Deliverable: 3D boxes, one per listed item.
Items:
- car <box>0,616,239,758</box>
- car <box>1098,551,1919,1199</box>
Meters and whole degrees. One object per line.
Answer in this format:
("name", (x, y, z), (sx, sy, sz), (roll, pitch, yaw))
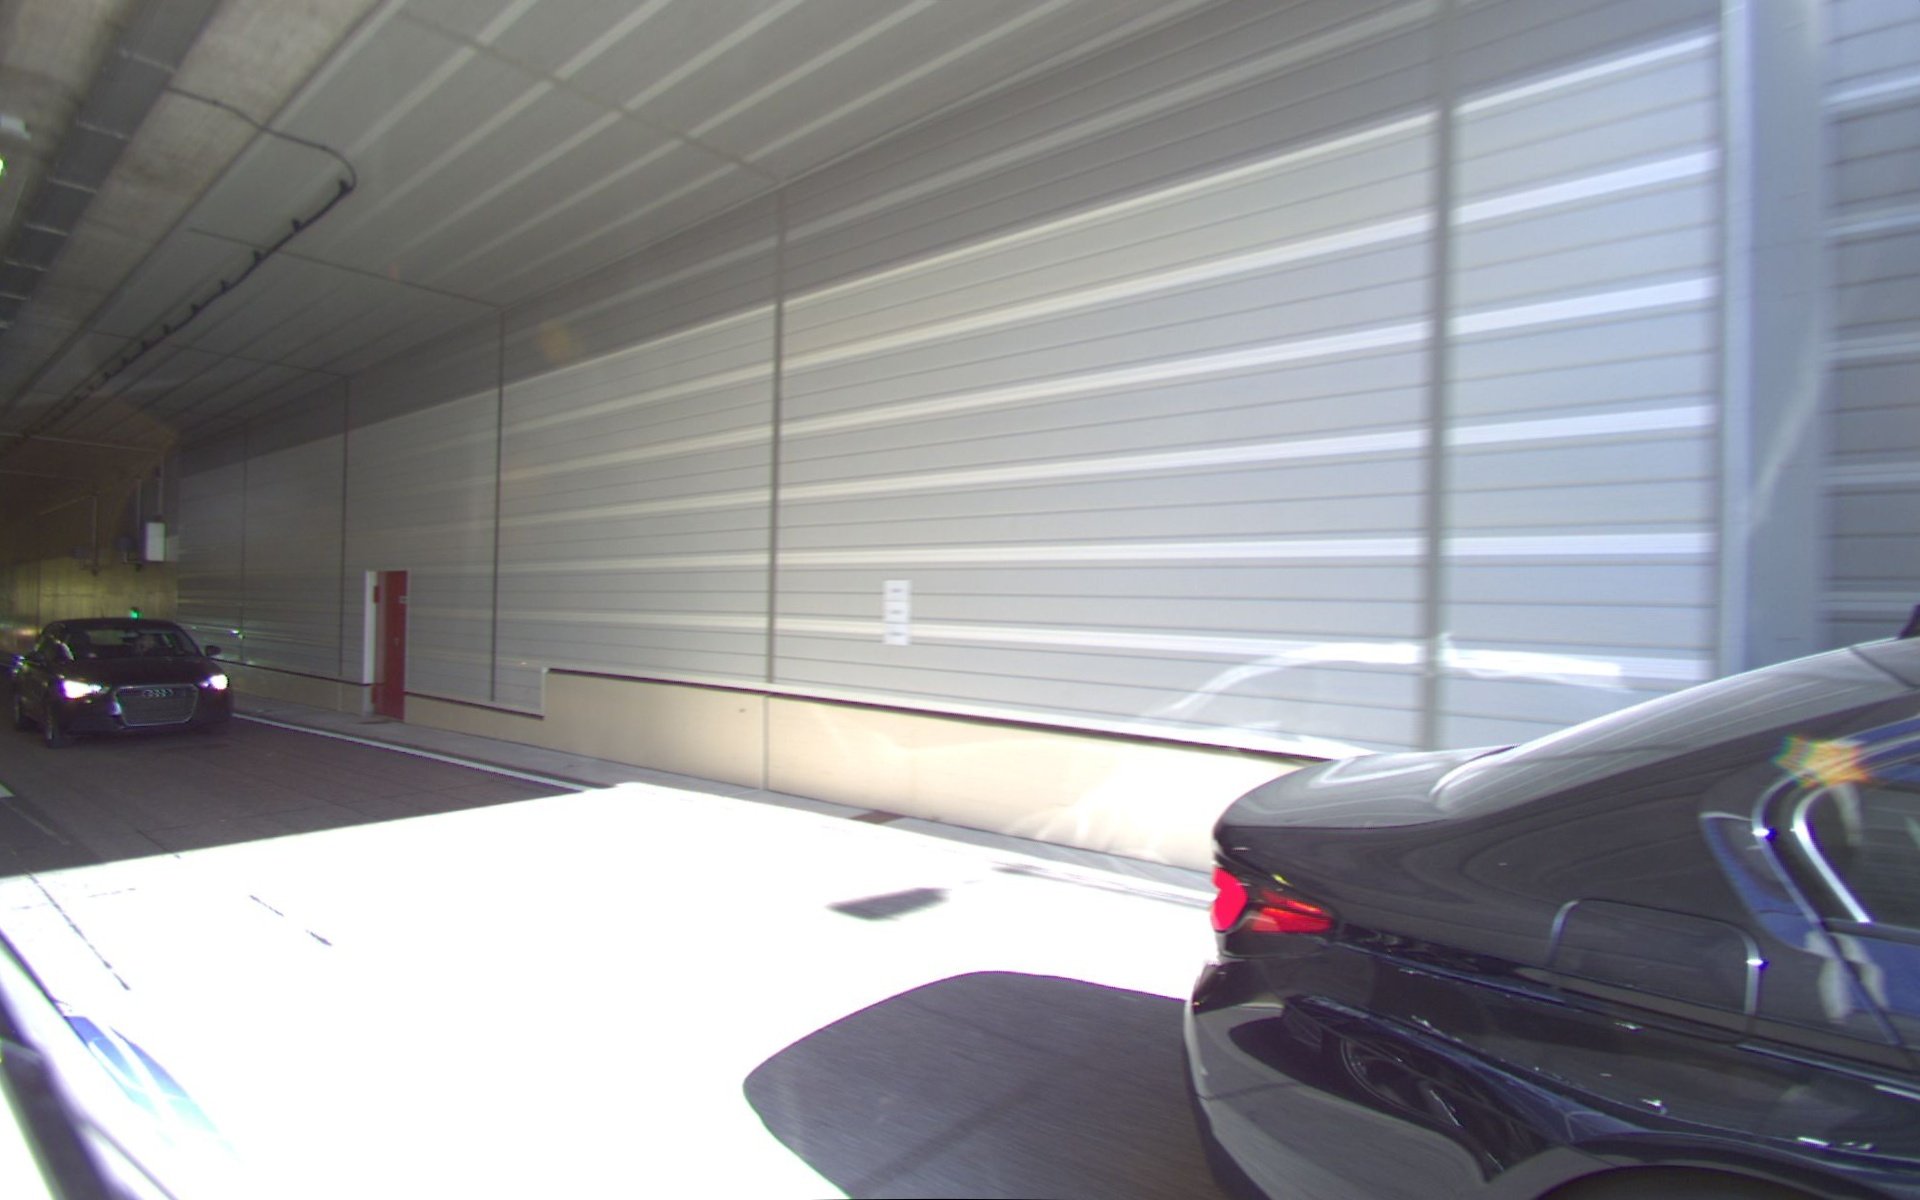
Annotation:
("car", (-10.329, 0.935, 12.342), (3.886, 1.429, 1.678), (-1, -1, 41))
("car", (2.729, 0.655, 1.001), (5.000, 1.450, 1.790), (-1, 0, 41))
